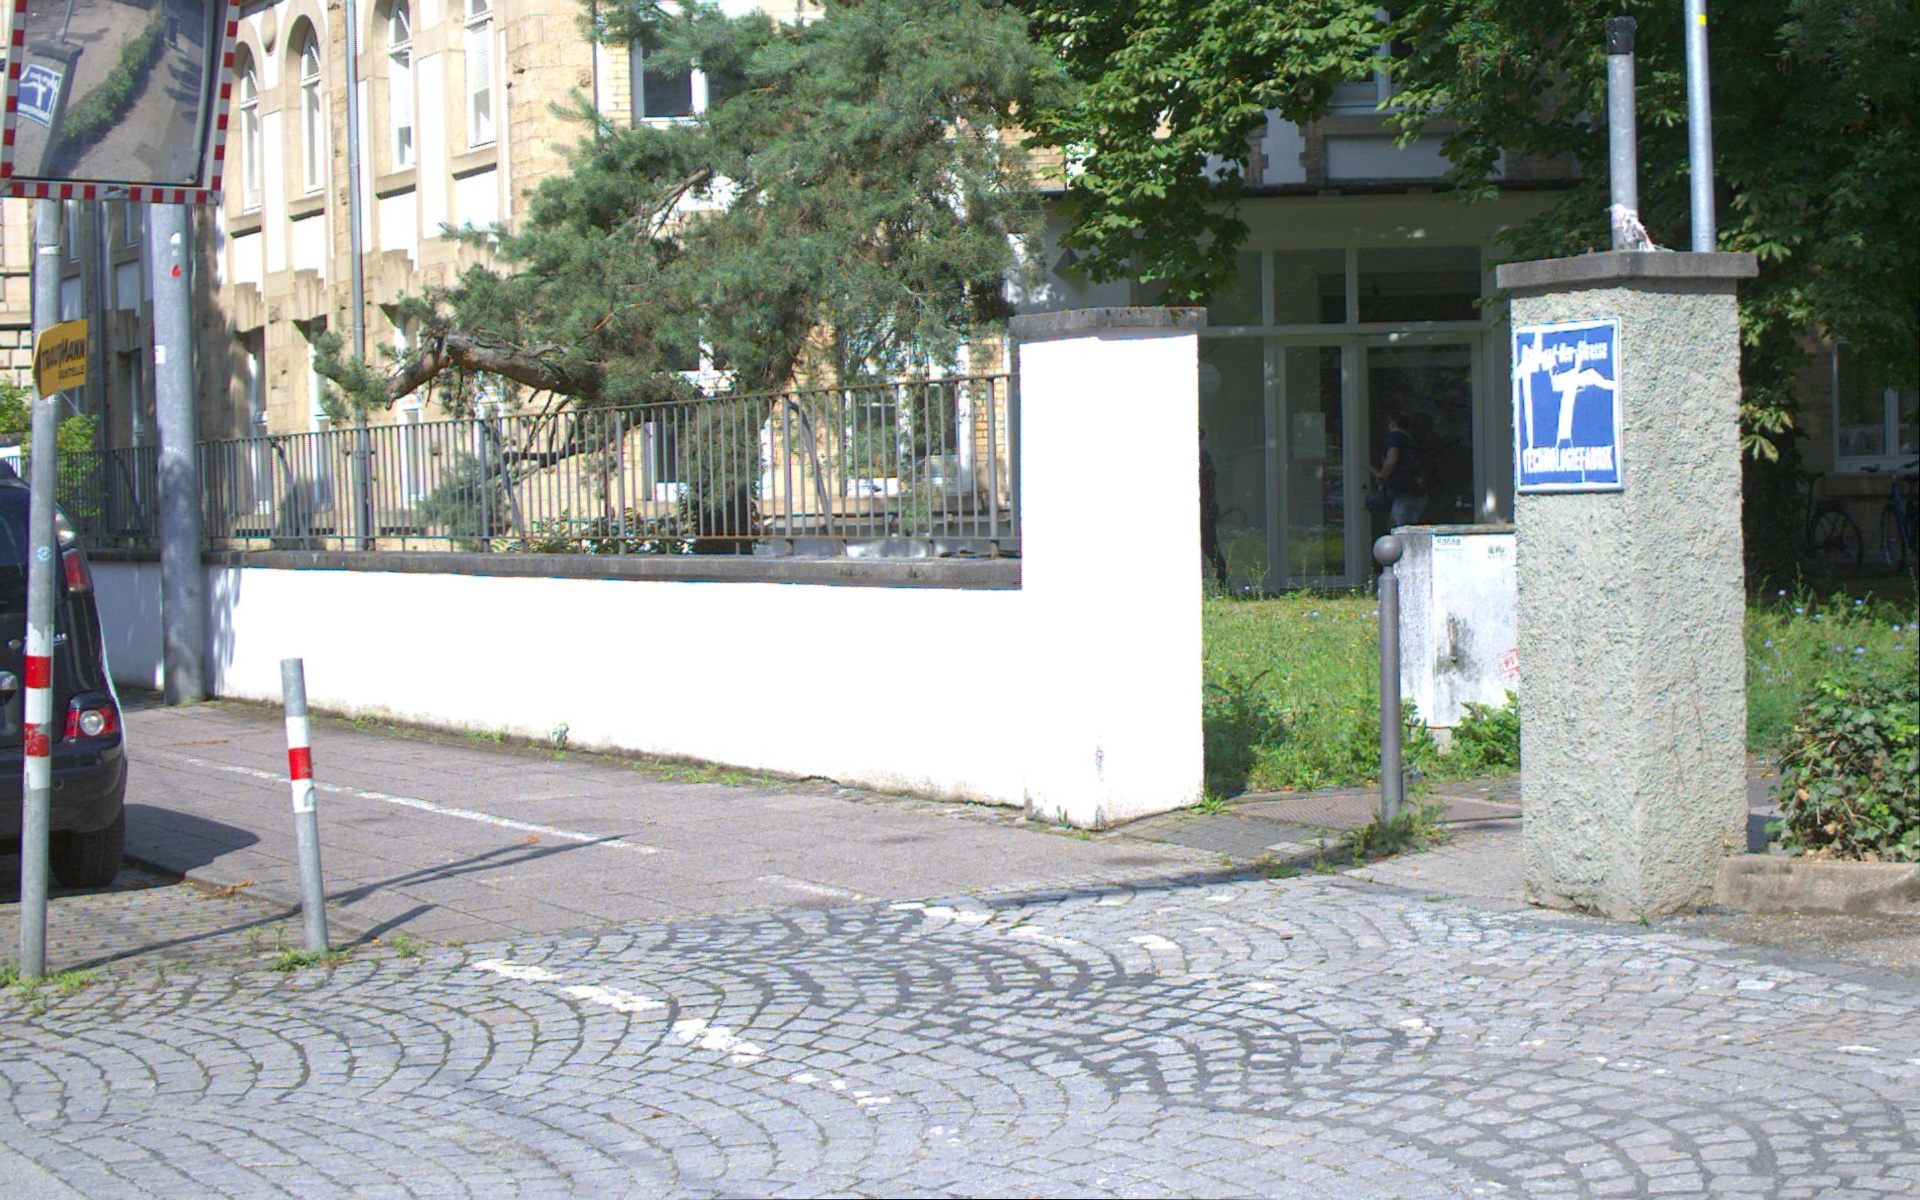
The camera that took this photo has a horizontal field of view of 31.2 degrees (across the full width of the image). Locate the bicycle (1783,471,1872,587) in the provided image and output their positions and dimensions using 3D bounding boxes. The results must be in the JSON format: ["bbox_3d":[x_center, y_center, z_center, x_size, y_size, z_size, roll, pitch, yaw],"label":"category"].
[{"bbox_3d":[8.246,-0.657,32.735,0.418,1.053,2.067,-1,0,3],"label":"bicycle"}]

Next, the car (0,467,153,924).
[{"bbox_3d":[-4.509,0.273,13.586,1.674,1.606,3.585,0,3,-29],"label":"car"}]

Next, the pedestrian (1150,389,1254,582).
[{"bbox_3d":[2.169,-1.015,30.865,0.770,1.672,0.809,3,0,-2],"label":"pedestrian"}]

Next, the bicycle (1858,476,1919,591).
[{"bbox_3d":[8.968,-0.618,32.677,0.418,1.053,2.067,-1,0,3],"label":"bicycle"}]
